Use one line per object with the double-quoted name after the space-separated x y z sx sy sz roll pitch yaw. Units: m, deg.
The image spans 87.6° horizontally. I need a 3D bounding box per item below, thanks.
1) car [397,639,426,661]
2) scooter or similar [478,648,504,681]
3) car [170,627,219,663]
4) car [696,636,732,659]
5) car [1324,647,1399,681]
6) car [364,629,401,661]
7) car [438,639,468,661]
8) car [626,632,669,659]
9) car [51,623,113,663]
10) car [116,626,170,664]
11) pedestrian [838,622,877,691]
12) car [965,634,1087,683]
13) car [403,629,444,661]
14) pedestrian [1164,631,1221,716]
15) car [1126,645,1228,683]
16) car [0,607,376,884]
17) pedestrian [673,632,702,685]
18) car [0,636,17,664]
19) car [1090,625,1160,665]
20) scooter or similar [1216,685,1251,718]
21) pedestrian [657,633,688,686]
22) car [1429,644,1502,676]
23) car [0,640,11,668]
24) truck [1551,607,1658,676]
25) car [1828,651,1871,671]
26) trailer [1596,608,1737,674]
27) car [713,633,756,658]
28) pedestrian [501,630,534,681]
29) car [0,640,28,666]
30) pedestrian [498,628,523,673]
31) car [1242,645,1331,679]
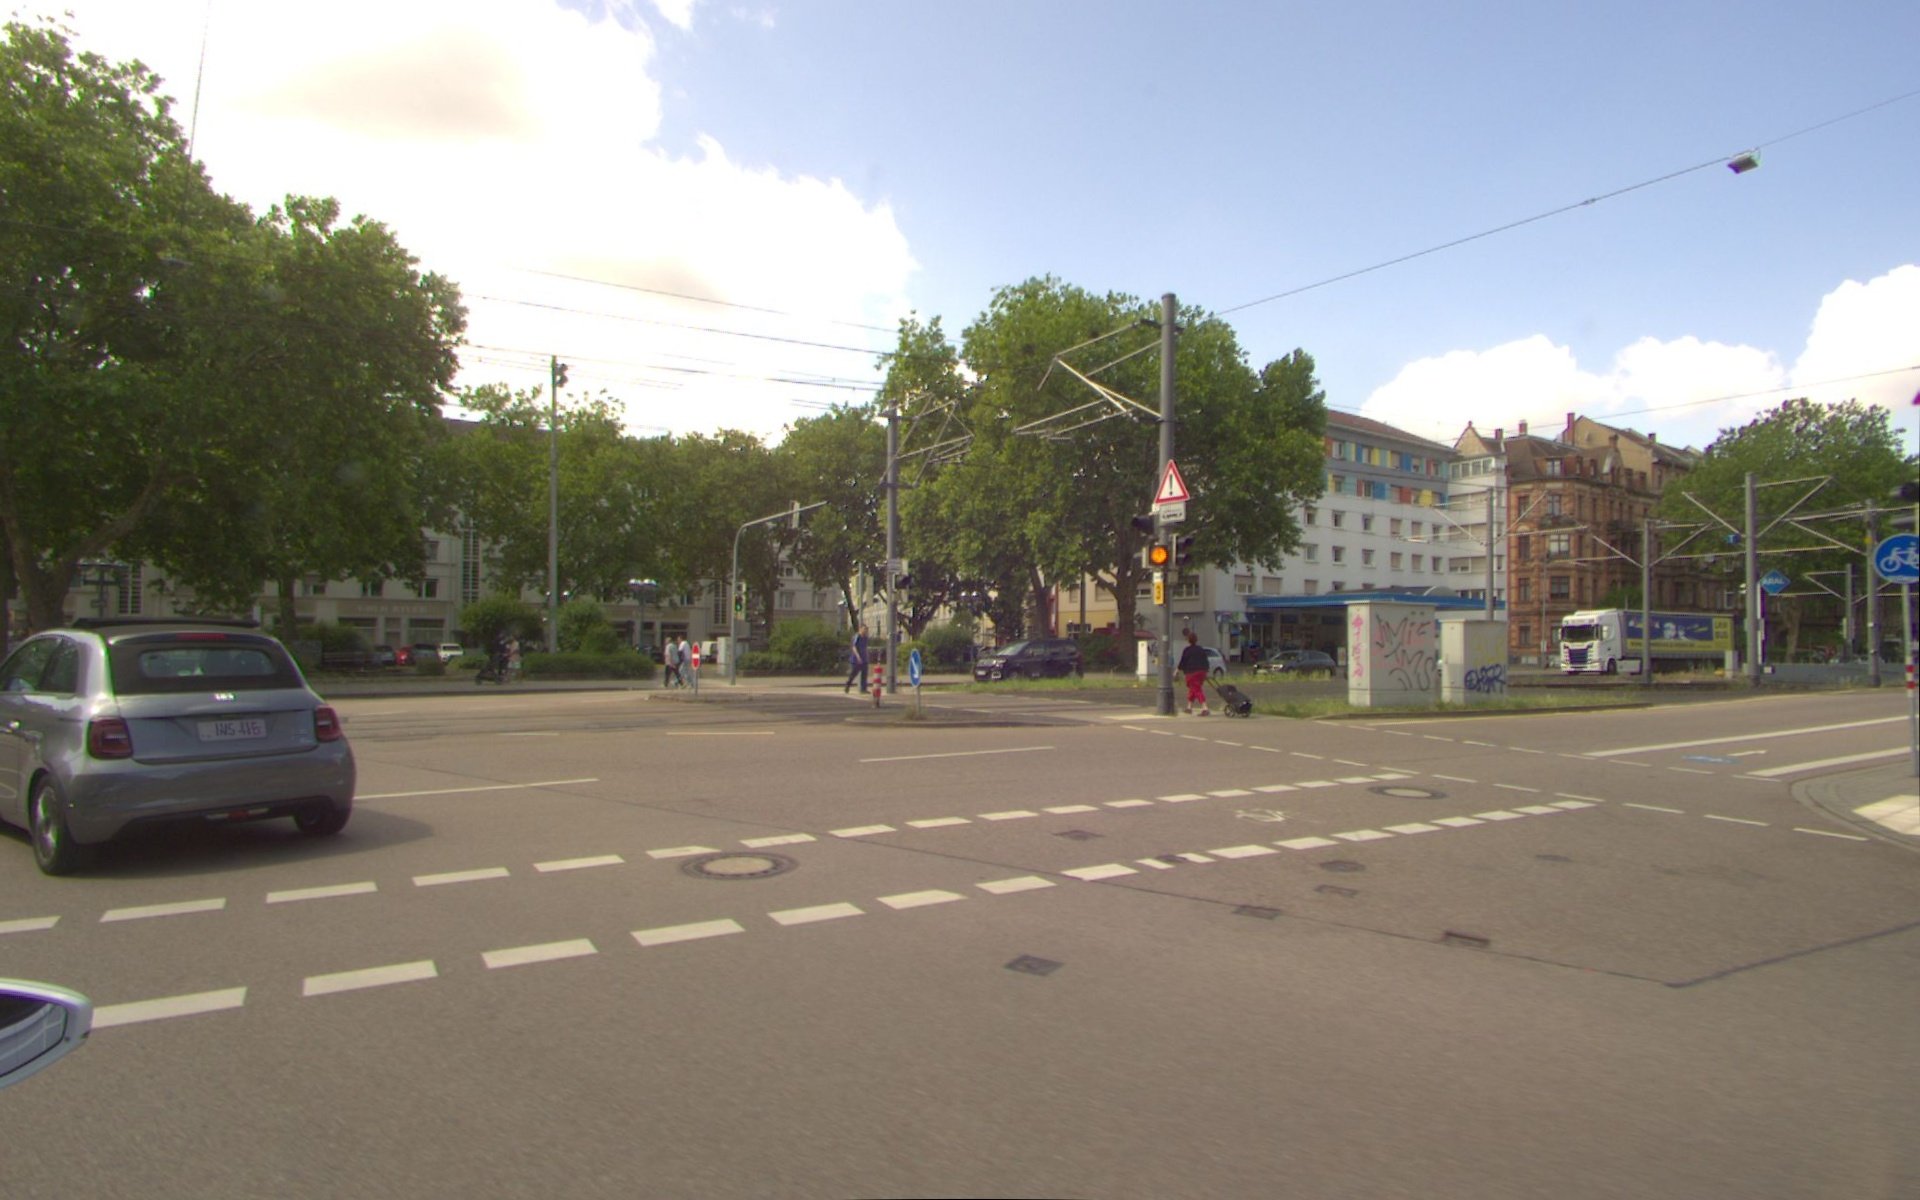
-41.632 3.780 76.022 1.721 1.657 3.979 1 -3 -32 "car"
-15.445 2.122 32.954 0.699 1.069 0.488 2 -2 -32 "scooter or similar"
-45.695 2.710 59.866 1.974 2.102 3.977 2 -3 -33 "car"
-22.002 4.250 89.477 1.973 1.988 3.979 1 -3 -32 "car"
19.840 3.159 49.476 3.704 1.583 1.676 2 -2 -34 "car"
-38.215 3.001 66.233 1.973 2.039 3.978 1 -3 -32 "car"
-39.254 3.853 77.539 1.721 1.657 3.979 1 -3 -32 "car"
-23.708 3.436 75.766 2.075 1.929 4.467 1 -3 -32 "car"
-49.761 2.461 56.845 1.974 2.210 4.233 2 -3 -33 "car"
-47.915 2.657 58.789 1.974 2.102 3.977 2 -3 -33 "car"
-2.649 1.451 25.894 0.734 1.753 0.767 2 -2 -34 "pedestrian"
2.512 2.170 37.600 4.360 1.748 1.844 2 -2 -33 "car"
-36.111 3.030 67.336 1.975 2.039 3.974 2 -3 -35 "car"
4.291 1.343 18.469 0.767 1.511 0.652 1 -1 44 "pedestrian"
9.133 2.675 42.009 4.271 1.484 1.724 2 -2 -34 "car"
-6.009 0.868 7.337 3.421 1.557 1.688 0 -2 35 "car"
-9.305 1.995 34.185 0.683 1.786 0.667 0 -2 33 "pedestrian"
-60.844 3.158 63.282 1.453 1.687 3.044 2 -3 -38 "car"
10.398 2.820 63.075 3.947 2.450 2.101 2 -3 -33 "car"
4.905 1.822 17.963 0.516 0.542 0.308 1 -1 44 "scooter or similar"
-9.635 1.985 33.549 0.683 1.744 0.716 0 -2 32 "pedestrian"
27.957 3.313 55.378 4.080 1.727 1.844 2 -2 -33 "car"
-50.346 2.789 51.995 1.455 1.406 3.040 2 -3 -42 "car"
40.658 2.630 63.115 6.495 4.201 2.905 1 -2 -29 "truck"
76.241 5.197 85.824 3.948 1.651 1.793 2 -3 -33 "car"
47.109 2.776 66.639 11.480 4.129 2.905 1 -2 -29 "trailer"
-17.908 3.611 79.385 2.075 1.929 4.467 1 -3 -32 "car"
-14.758 1.834 33.385 0.910 1.666 0.567 2 -2 -32 "pedestrian"
-52.632 2.935 55.324 1.454 1.406 3.209 2 -3 -40 "car"
-17.777 2.004 39.612 0.597 1.772 0.695 0 -2 32 "pedestrian"
14.966 2.800 45.898 3.920 1.465 1.844 1 -2 -33 "car"
